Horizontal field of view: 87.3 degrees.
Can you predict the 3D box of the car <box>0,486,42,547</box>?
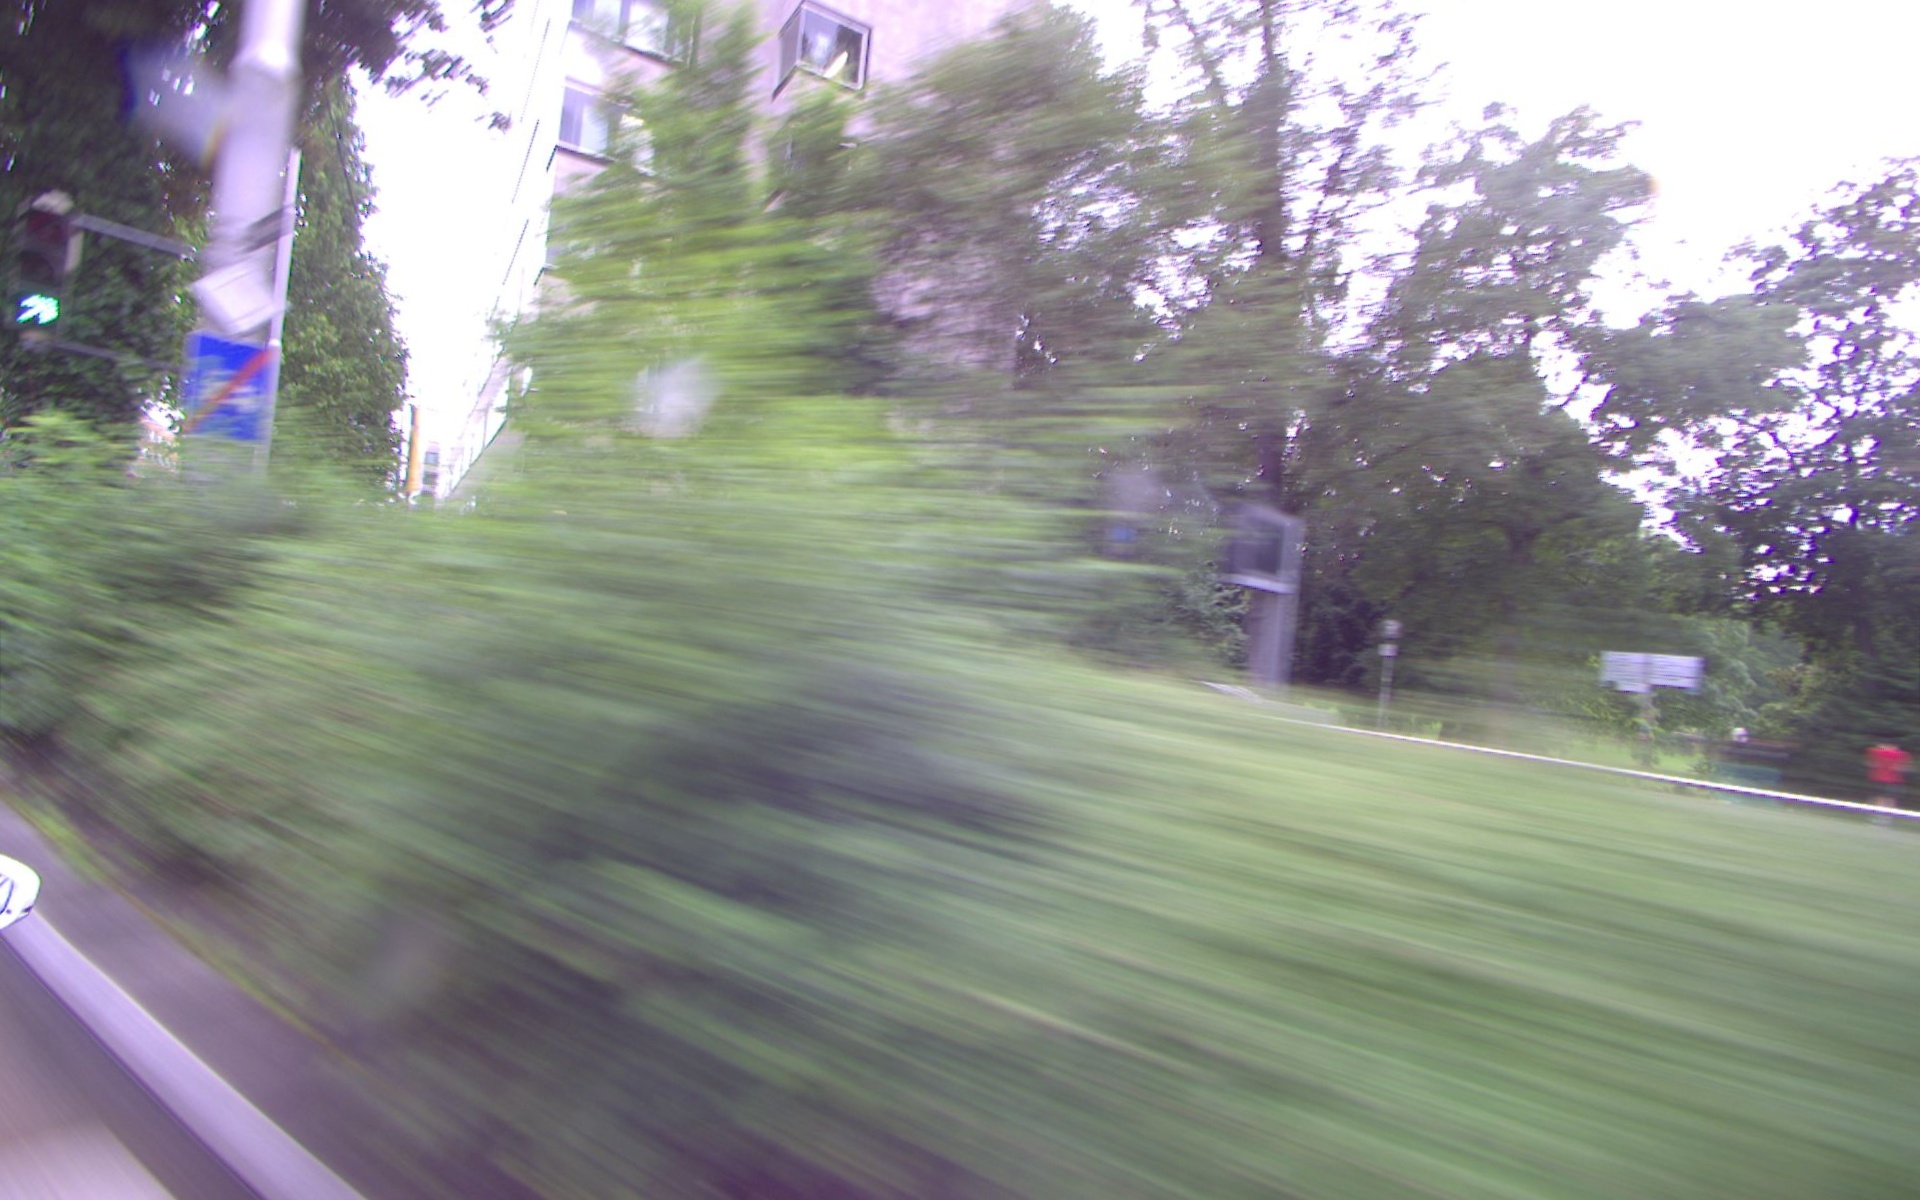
[{"bbox_3d":[-29.767,-2.617,30.407,1.883,1.714,3.973,6,-1,-28],"label":"car"}]
